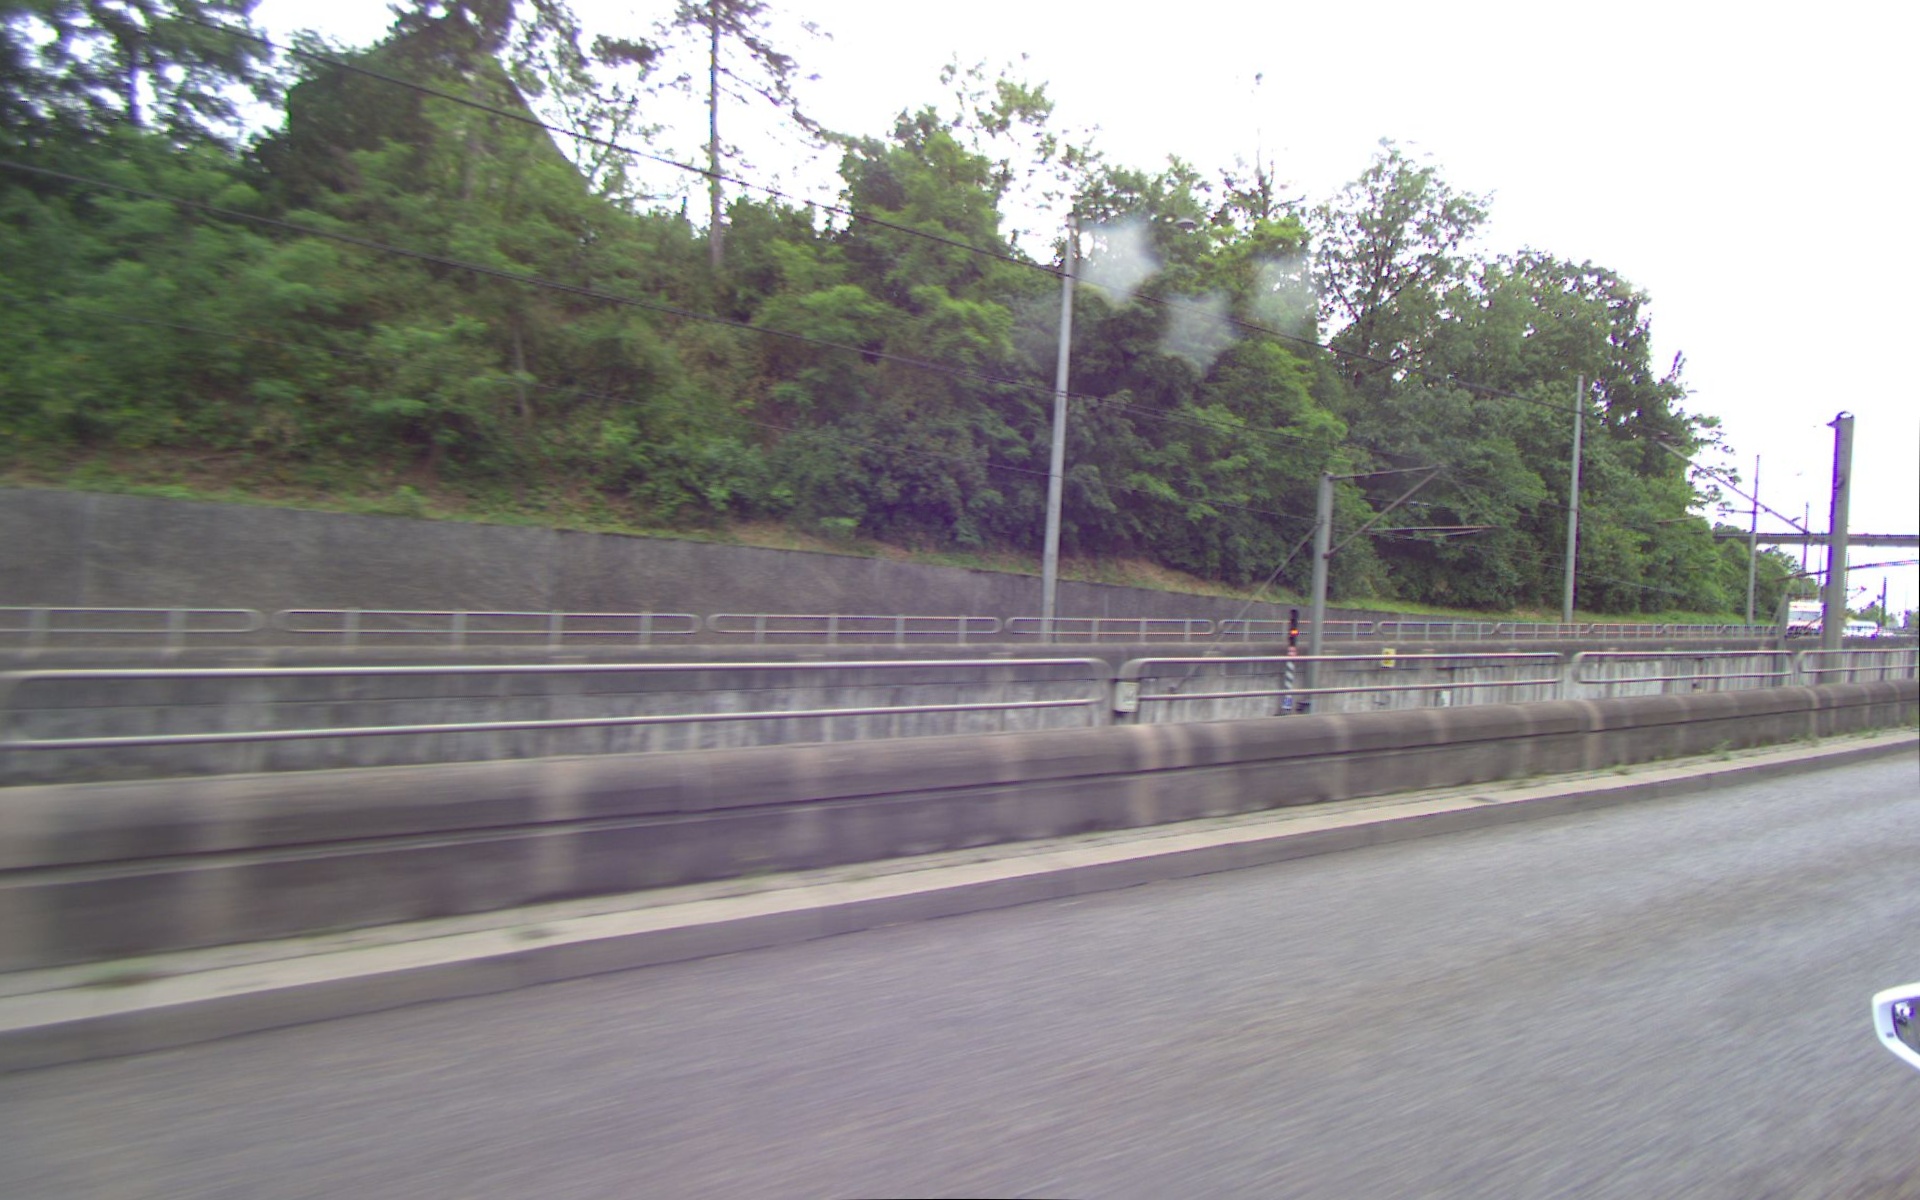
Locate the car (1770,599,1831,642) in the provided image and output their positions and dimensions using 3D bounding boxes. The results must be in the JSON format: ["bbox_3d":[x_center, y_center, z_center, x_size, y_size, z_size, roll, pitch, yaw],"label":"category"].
[{"bbox_3d":[56.711,1.427,67.727,6.295,2.770,2.164,2,-2,-41],"label":"car"}]

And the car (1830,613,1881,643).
[{"bbox_3d":[55.333,1.747,62.041,4.078,1.726,1.802,2,-2,-41],"label":"car"}]

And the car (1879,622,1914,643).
[{"bbox_3d":[82.467,2.910,88.465,4.111,1.773,1.943,2,-2,-42],"label":"car"}]
